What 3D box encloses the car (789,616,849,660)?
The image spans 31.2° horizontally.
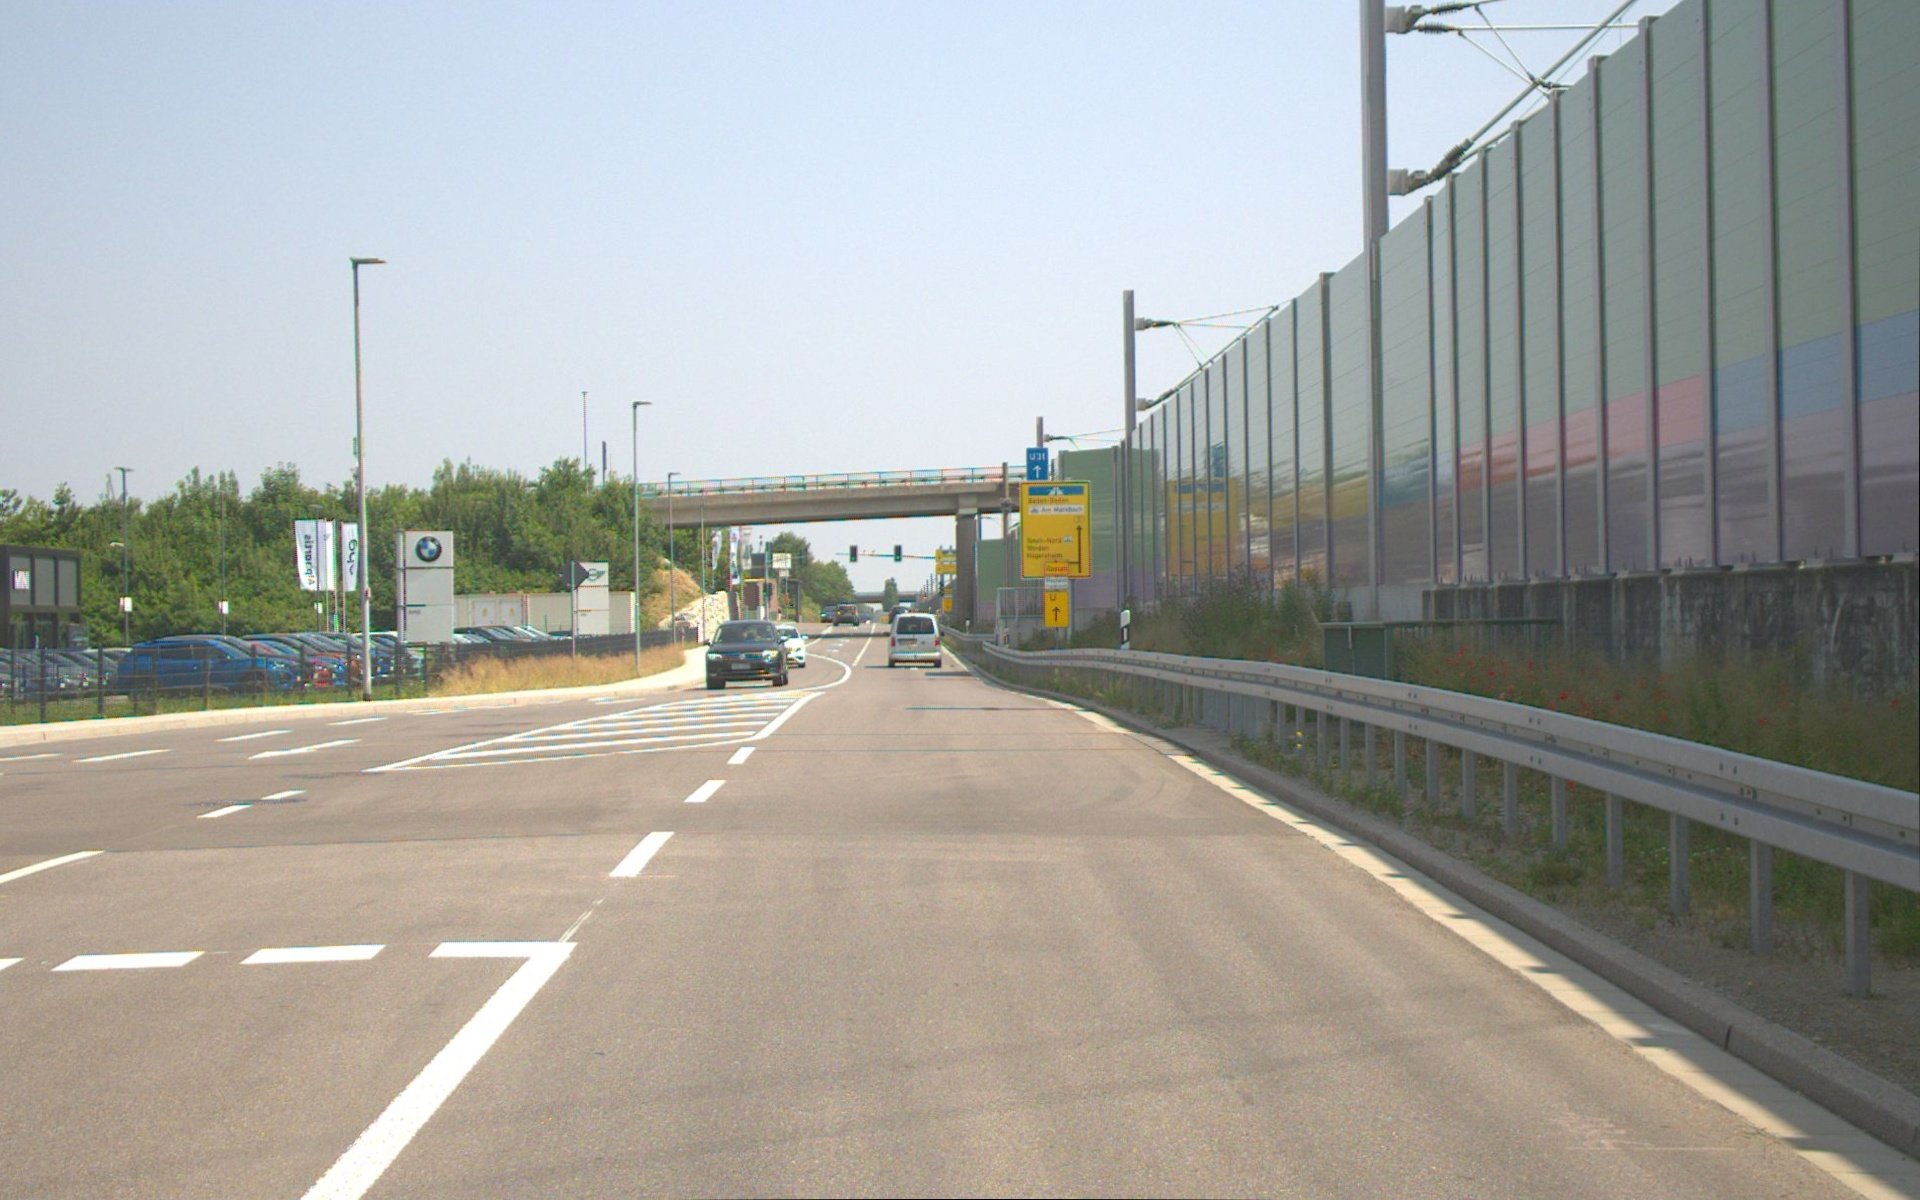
[{"bbox_3d":[-4.759,1.288,116.127,1.781,1.411,4.050,-1,-1,1],"label":"car"}]

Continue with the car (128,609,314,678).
[{"bbox_3d":[-17.344,1.009,80.829,3.986,1.475,1.911,-1,0,-2],"label":"car"}]

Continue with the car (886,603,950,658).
[{"bbox_3d":[-1.370,1.007,114.197,1.993,1.751,4.000,-1,0,1],"label":"car"}]

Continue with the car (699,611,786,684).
[{"bbox_3d":[-5.269,1.142,83.807,1.877,1.667,4.291,-1,0,-1],"label":"car"}]
